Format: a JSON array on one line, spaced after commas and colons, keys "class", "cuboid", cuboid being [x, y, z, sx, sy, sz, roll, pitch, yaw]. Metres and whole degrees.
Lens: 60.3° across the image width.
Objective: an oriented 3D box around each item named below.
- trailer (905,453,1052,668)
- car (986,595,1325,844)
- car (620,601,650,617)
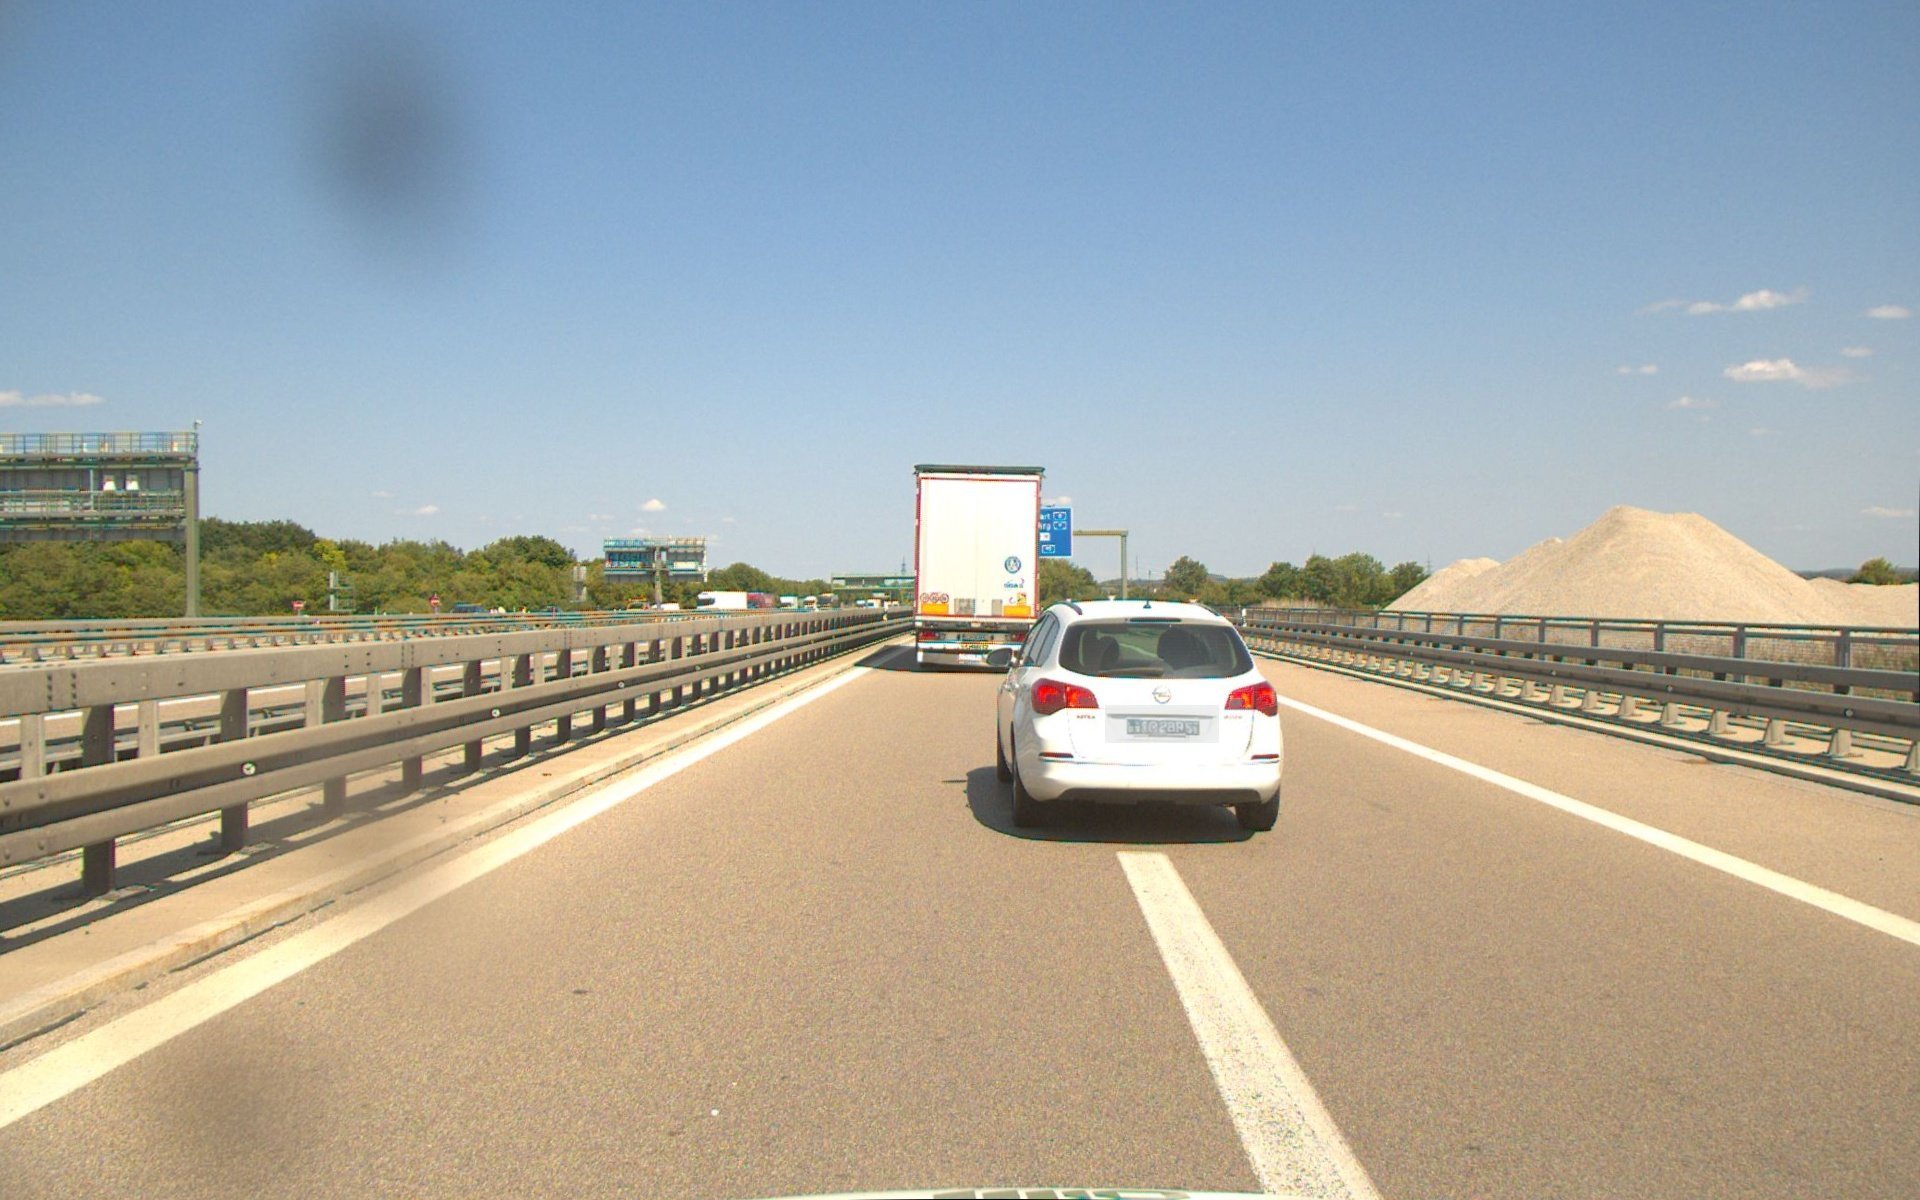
[{"class": "trailer", "cuboid": [0.515, -0.728, 38.350, 2.852, 4.218, 11.259, 1, -1, 2]}, {"class": "car", "cuboid": [1.207, 0.710, 12.075, 1.817, 1.468, 4.370, 1, 0, -2]}, {"class": "car", "cuboid": [-32.230, 0.908, 164.200, 1.800, 1.544, 5.298, 0, 0, 1]}]
